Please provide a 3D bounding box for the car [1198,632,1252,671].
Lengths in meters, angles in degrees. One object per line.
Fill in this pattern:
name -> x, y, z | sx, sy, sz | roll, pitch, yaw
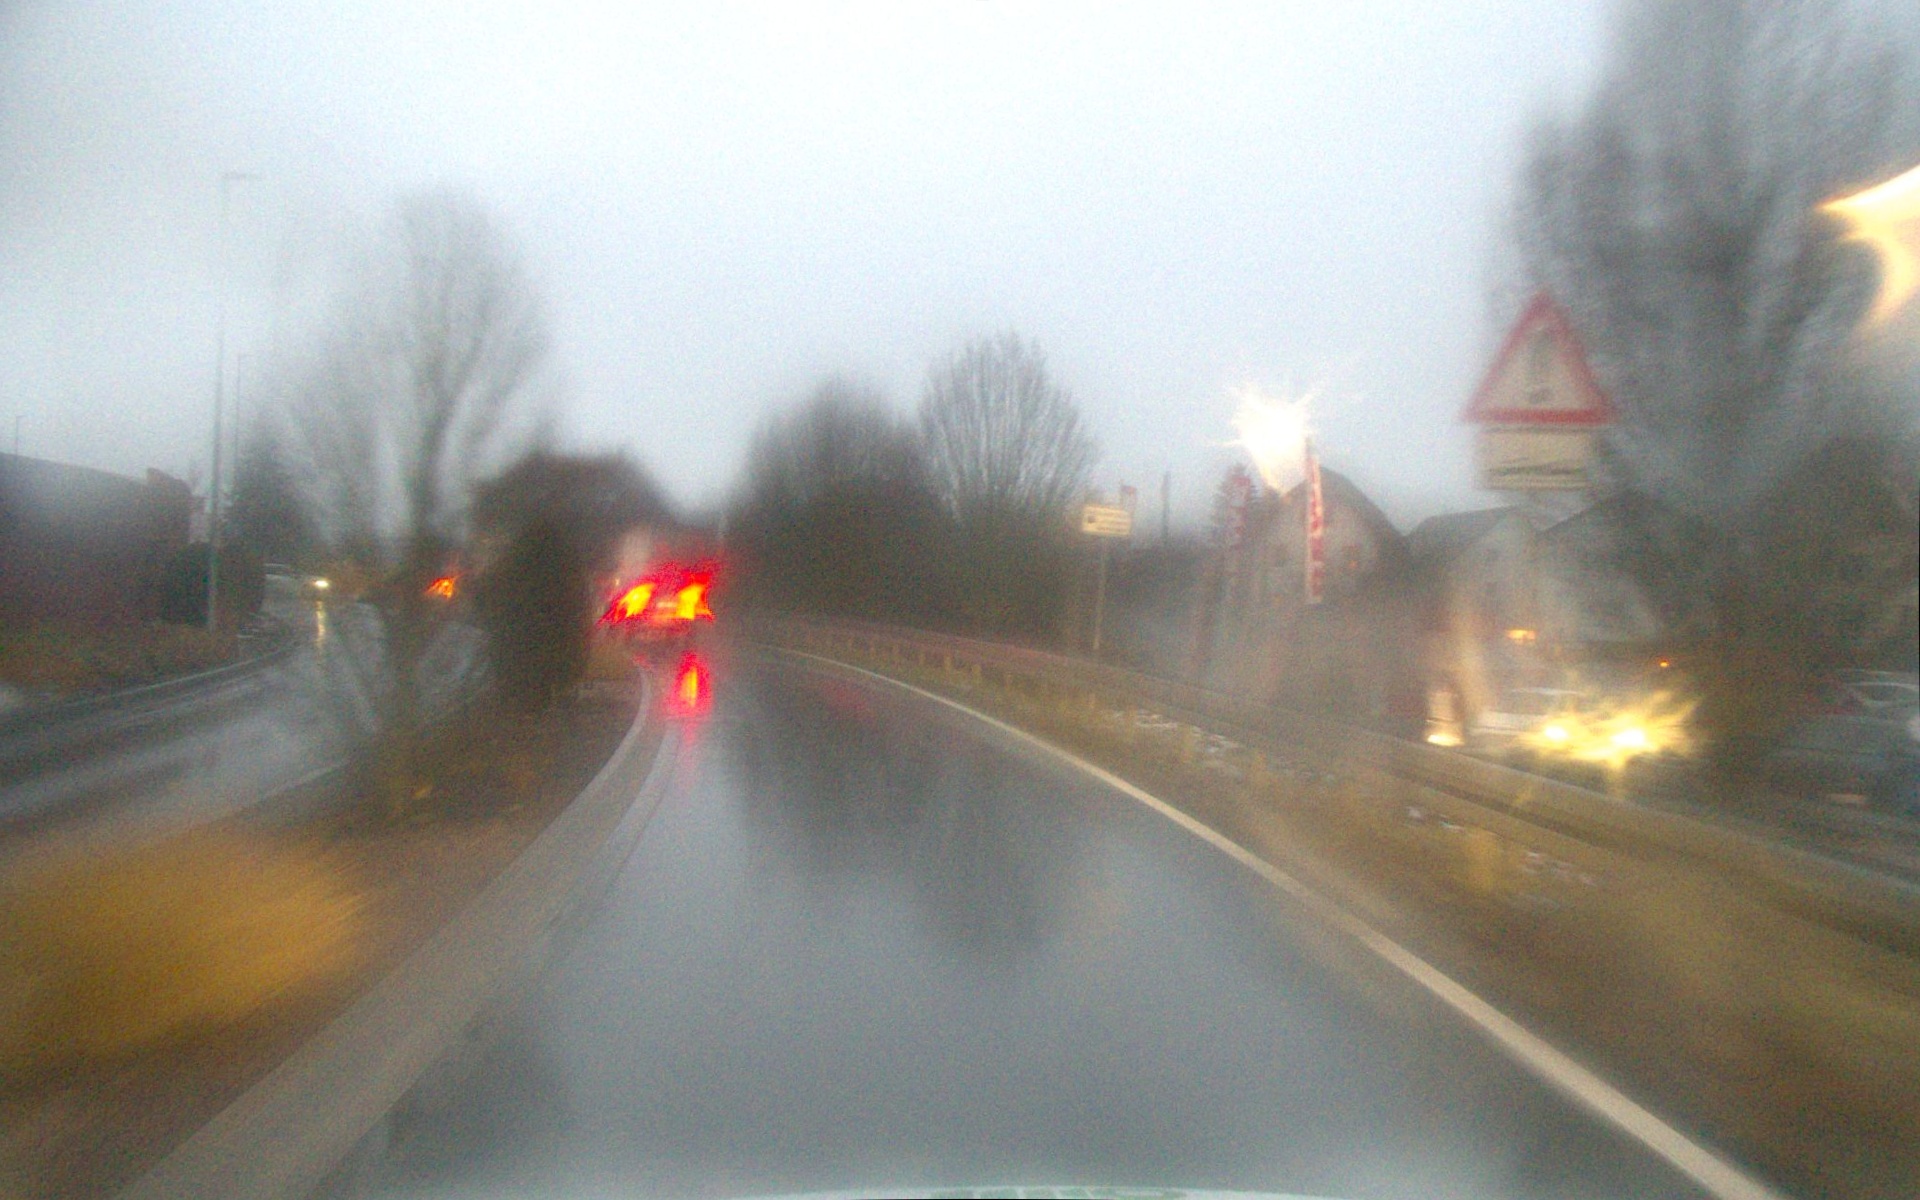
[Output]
car -> 11.759, 2.281, 73.625 | 1.896, 1.574, 4.001 | 1, 0, 3

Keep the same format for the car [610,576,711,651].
car -> -7.564, 0.329, 41.500 | 1.914, 1.748, 3.979 | 2, 0, -18

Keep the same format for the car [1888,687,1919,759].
car -> 21.948, 2.697, 35.066 | 3.698, 1.455, 1.558 | 1, 0, 45

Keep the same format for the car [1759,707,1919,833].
car -> 13.684, 2.449, 24.666 | 1.898, 1.480, 4.556 | 0, -1, 44

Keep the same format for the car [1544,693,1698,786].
car -> 12.676, 2.607, 31.590 | 1.601, 1.445, 3.979 | 1, 0, 40

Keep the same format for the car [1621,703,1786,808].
car -> 12.888, 2.617, 28.554 | 1.601, 1.445, 3.979 | 1, 0, 40

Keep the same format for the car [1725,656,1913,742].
car -> 21.790, 2.455, 42.014 | 3.961, 1.901, 1.714 | 1, 0, 40

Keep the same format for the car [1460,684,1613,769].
car -> 12.183, 2.604, 34.813 | 1.764, 1.464, 3.979 | 1, 0, 40
